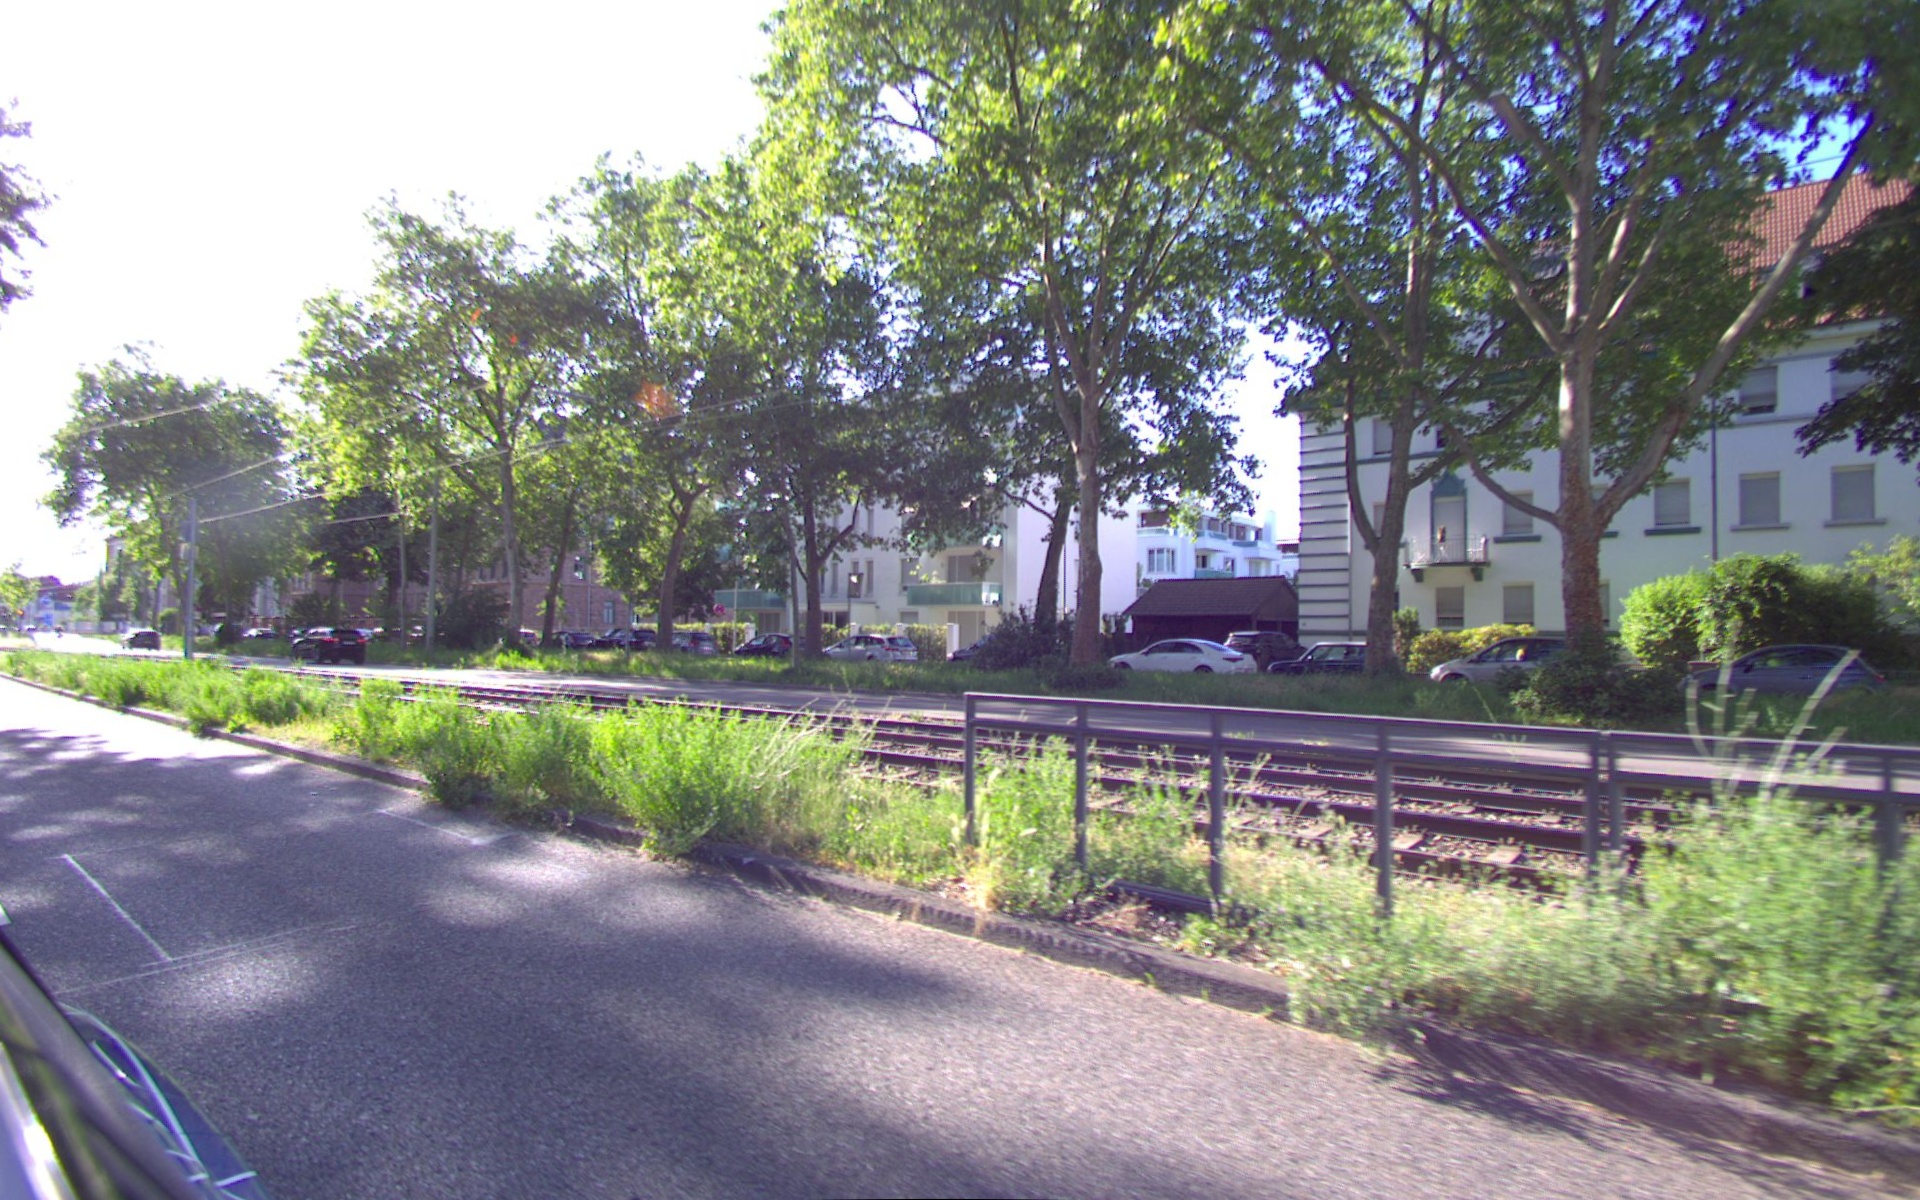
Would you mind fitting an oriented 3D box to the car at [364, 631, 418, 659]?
[{"bbox_3d":[-39.052,3.056,69.434,3.998,1.863,1.972,-2,-3,42],"label":"car"}]

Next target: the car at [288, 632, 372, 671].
[{"bbox_3d":[-28.815,2.337,46.242,4.456,1.660,1.839,-2,-5,40],"label":"car"}]

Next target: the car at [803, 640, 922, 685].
[{"bbox_3d":[-3.827,2.372,39.229,4.653,1.603,1.972,-2,-3,42],"label":"car"}]

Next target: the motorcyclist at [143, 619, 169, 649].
[{"bbox_3d":[-81.192,3.447,102.202,1.679,2.944,1.724,-2,-3,41],"label":"motorcyclist"}]

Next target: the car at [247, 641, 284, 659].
[{"bbox_3d":[-59.218,4.217,86.227,3.686,1.497,1.748,-2,-3,41],"label":"car"}]

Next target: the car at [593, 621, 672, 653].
[{"bbox_3d":[-16.224,1.844,50.108,3.998,1.497,1.972,-2,-3,41],"label":"car"}]

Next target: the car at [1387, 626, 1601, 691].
[{"bbox_3d":[12.928,1.391,24.655,4.317,1.451,1.717,-2,-3,42],"label":"car"}]

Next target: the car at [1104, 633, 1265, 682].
[{"bbox_3d":[6.607,1.697,30.067,4.459,1.334,1.623,-2,-5,42],"label":"car"}]

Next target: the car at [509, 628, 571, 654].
[{"bbox_3d":[-25.698,2.492,61.857,3.998,1.497,1.972,-2,-3,41],"label":"car"}]

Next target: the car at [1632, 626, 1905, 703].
[{"bbox_3d":[16.851,1.291,21.283,4.317,1.452,1.766,-2,-3,42],"label":"car"}]

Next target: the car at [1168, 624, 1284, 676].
[{"bbox_3d":[10.070,1.882,38.421,3.818,1.874,1.830,-2,-3,40],"label":"car"}]

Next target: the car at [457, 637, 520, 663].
[{"bbox_3d":[-28.215,2.964,60.564,3.998,1.497,1.972,-2,-3,41],"label":"car"}]

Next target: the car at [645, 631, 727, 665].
[{"bbox_3d":[-12.737,2.209,46.917,3.998,1.484,1.778,-2,-3,41],"label":"car"}]

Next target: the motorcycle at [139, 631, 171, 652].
[{"bbox_3d":[-81.498,4.188,102.390,3.996,2.073,1.707,-2,-3,40],"label":"motorcycle"}]

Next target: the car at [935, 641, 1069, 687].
[{"bbox_3d":[1.397,2.163,34.763,4.317,1.464,1.972,-2,-3,41],"label":"car"}]
